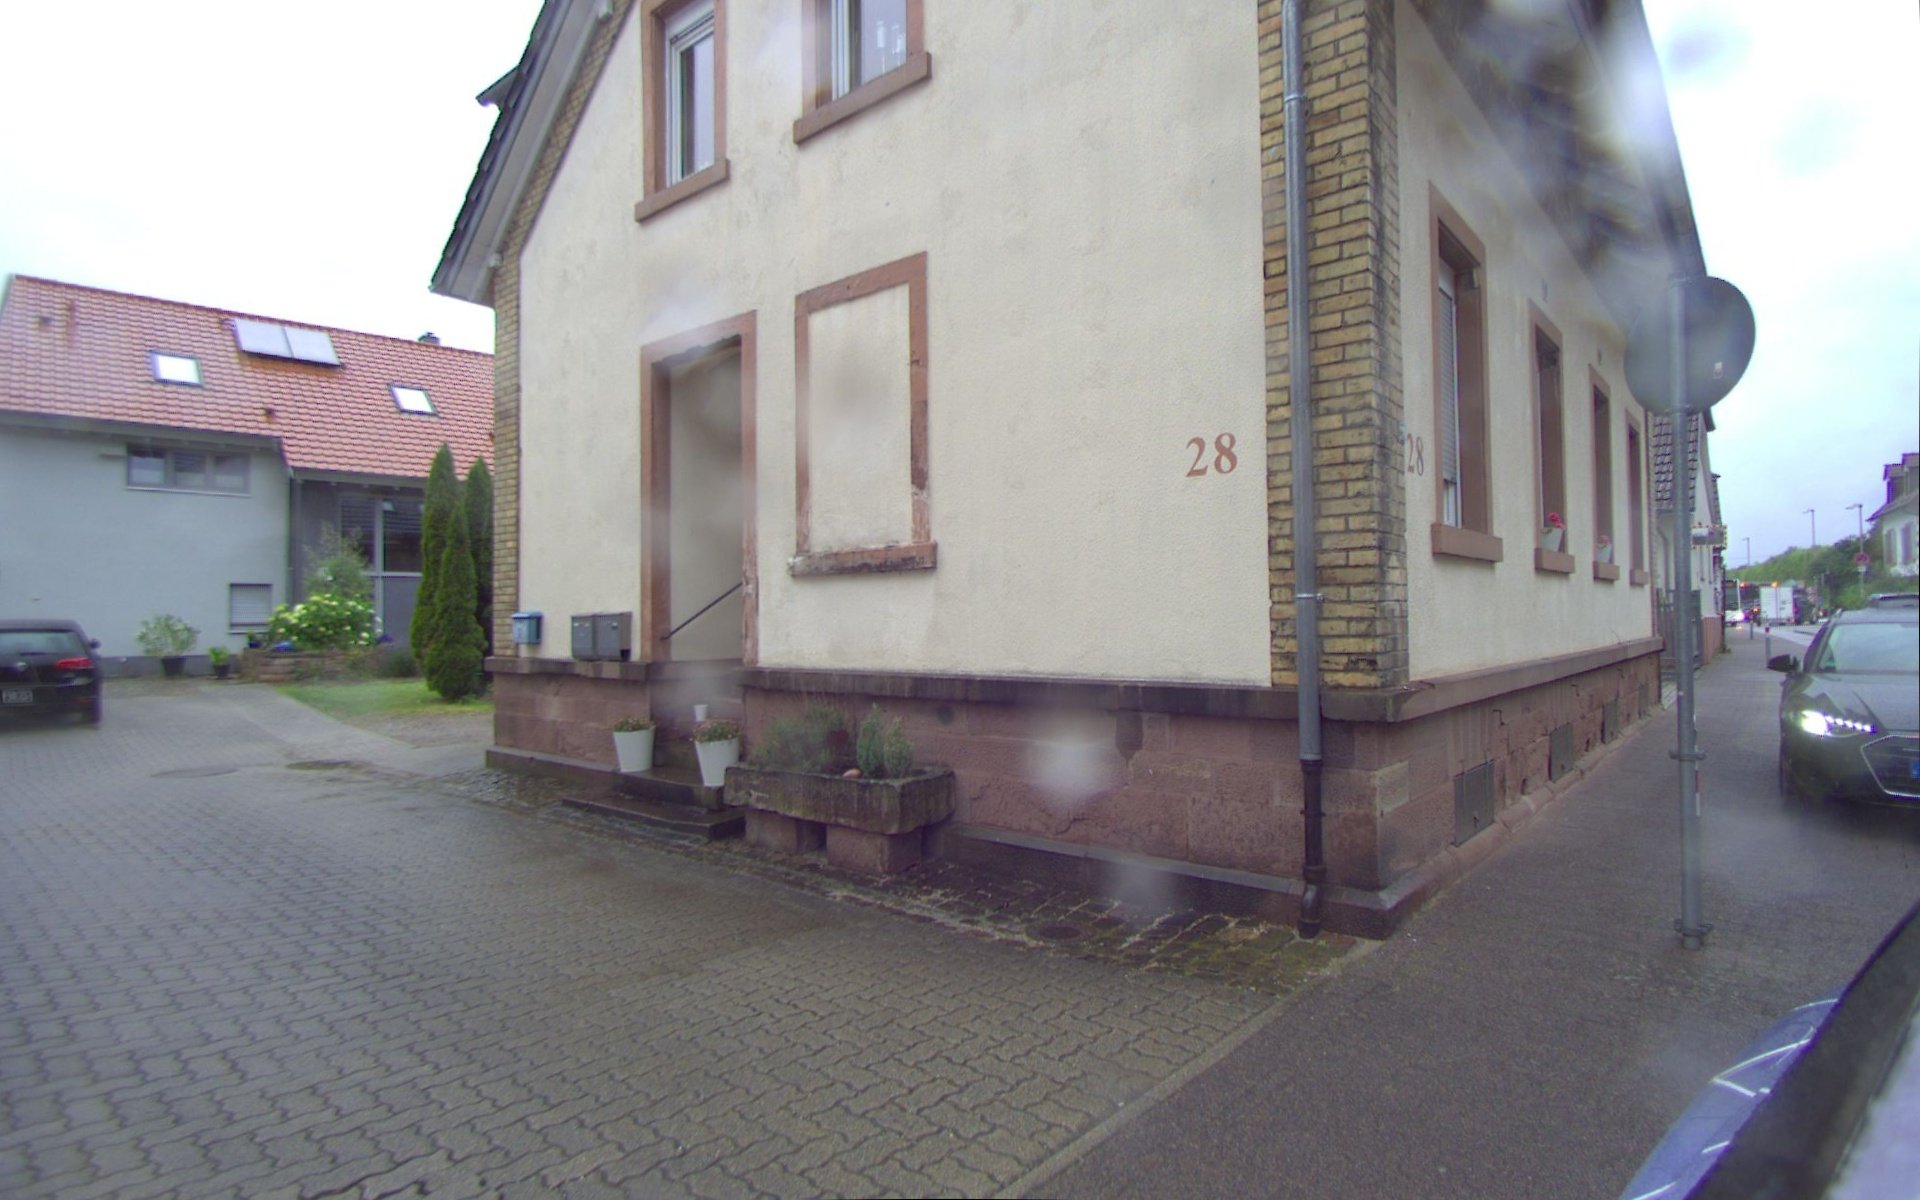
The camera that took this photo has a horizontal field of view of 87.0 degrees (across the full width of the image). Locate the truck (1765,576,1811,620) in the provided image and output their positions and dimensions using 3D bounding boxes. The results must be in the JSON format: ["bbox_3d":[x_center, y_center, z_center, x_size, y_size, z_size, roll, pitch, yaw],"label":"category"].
[{"bbox_3d":[50.406,-0.149,61.682,1.989,2.536,5.573,0,0,38],"label":"truck"}]

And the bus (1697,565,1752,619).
[{"bbox_3d":[50.100,-0.540,66.501,2.654,3.273,12.032,0,0,36],"label":"bus"}]

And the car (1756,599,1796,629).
[{"bbox_3d":[58.555,0.959,72.703,1.987,2.039,3.949,0,0,36],"label":"car"}]

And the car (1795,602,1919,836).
[{"bbox_3d":[7.371,0.732,7.544,1.732,1.388,4.044,0,0,39],"label":"car"}]

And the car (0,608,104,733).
[{"bbox_3d":[-13.942,0.951,15.115,1.655,1.491,3.993,0,2,-42],"label":"car"}]

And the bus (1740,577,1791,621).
[{"bbox_3d":[64.311,-0.152,80.943,2.654,3.273,12.032,0,0,36],"label":"bus"}]

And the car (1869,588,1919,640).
[{"bbox_3d":[33.869,0.455,36.177,1.777,1.686,4.363,-3,-1,40],"label":"car"}]
